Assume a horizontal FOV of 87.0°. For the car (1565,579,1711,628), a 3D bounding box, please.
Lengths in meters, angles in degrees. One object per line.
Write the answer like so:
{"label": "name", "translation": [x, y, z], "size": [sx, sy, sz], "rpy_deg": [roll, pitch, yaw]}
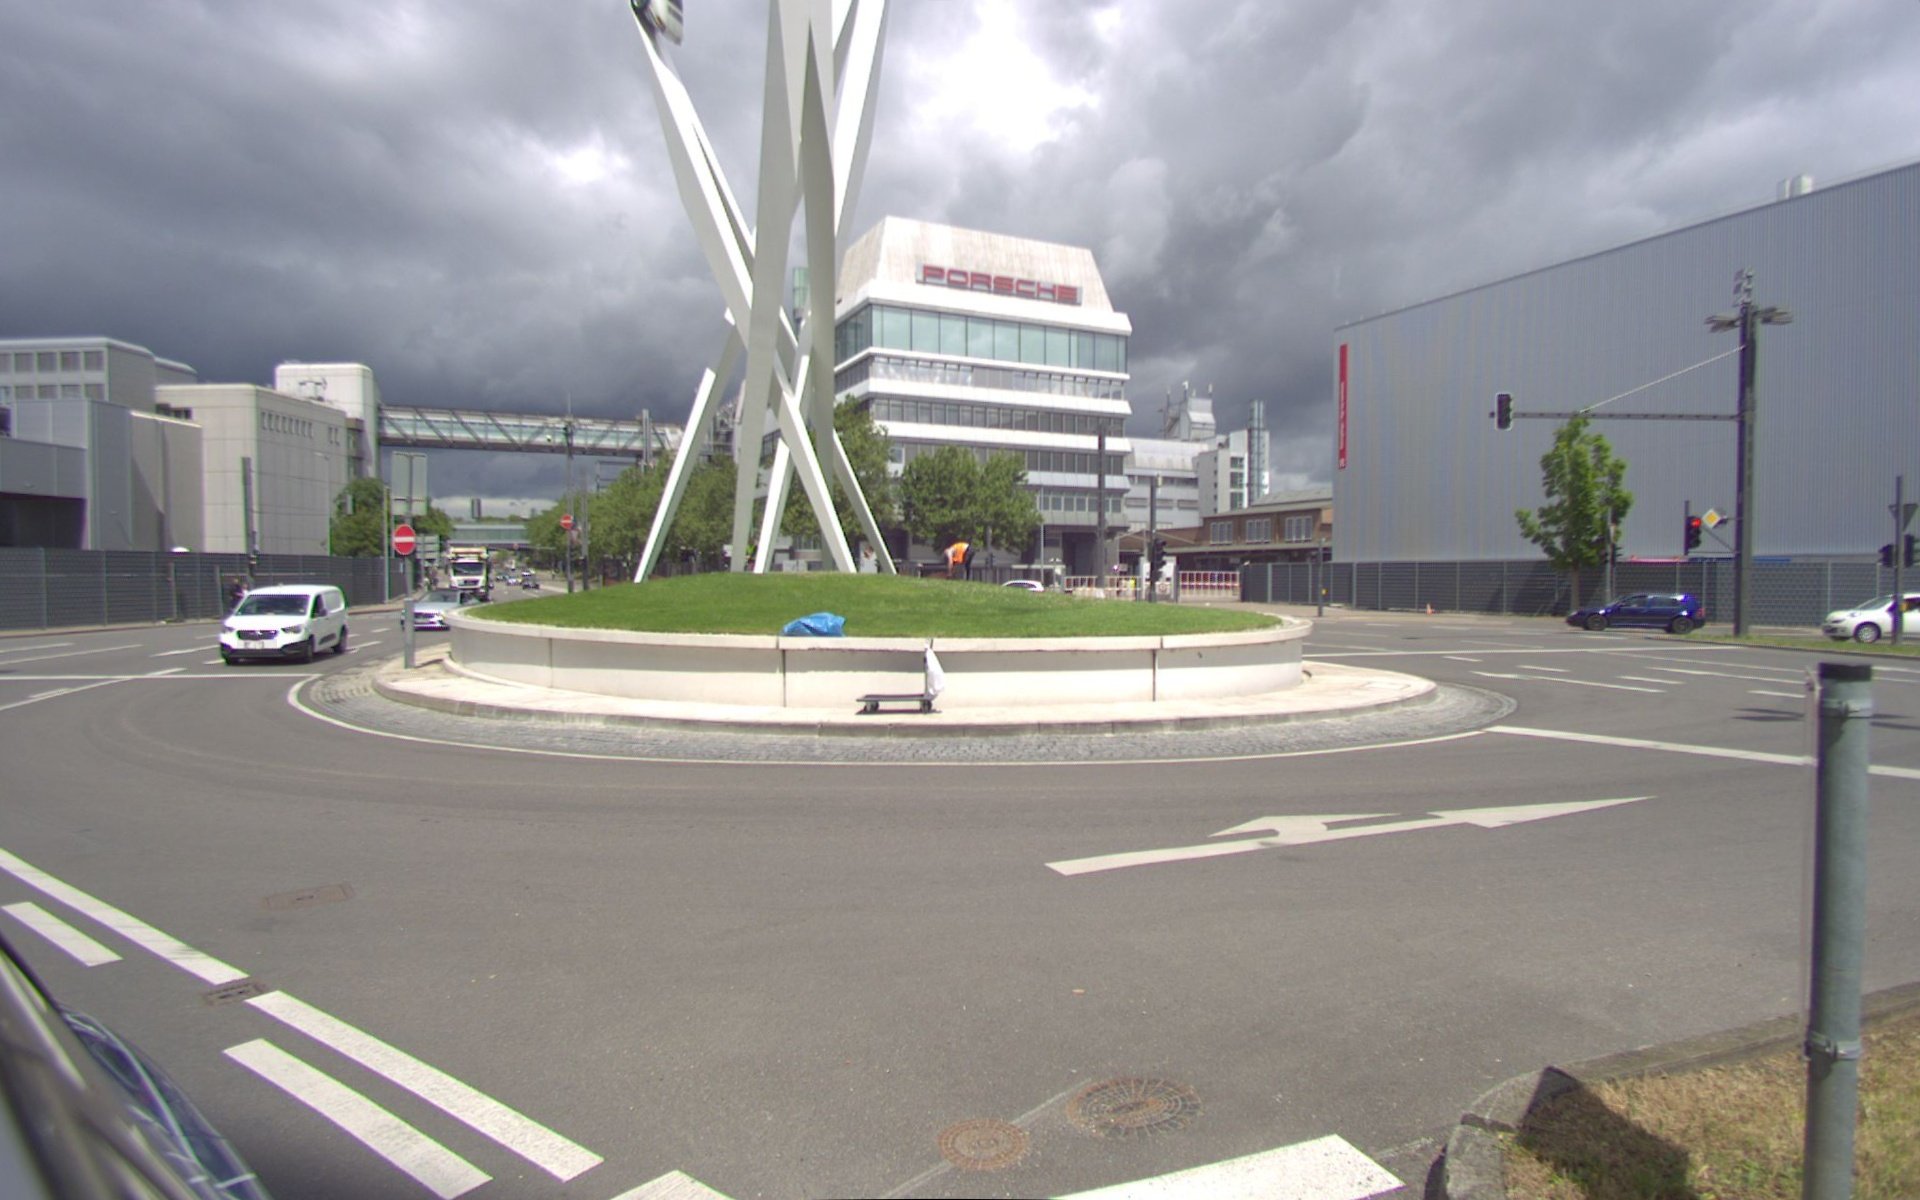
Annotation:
{"label": "car", "translation": [23.663, 0.108, 35.493], "size": [3.932, 1.568, 1.790], "rpy_deg": [0, 3, 23]}

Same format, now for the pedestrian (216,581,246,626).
{"label": "pedestrian", "translation": [-31.221, 0.124, 43.350], "size": [0.658, 1.880, 0.787], "rpy_deg": [0, 3, 26]}

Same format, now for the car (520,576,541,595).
{"label": "car", "translation": [-47.495, -1.628, 111.876], "size": [1.841, 1.970, 4.728], "rpy_deg": [-3, 4, -25]}

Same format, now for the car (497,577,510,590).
{"label": "car", "translation": [-75.343, -2.802, 167.074], "size": [1.841, 1.970, 4.728], "rpy_deg": [-3, 4, -25]}

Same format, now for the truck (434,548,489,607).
{"label": "truck", "translation": [-36.085, -1.596, 73.040], "size": [2.669, 3.914, 10.774], "rpy_deg": [0, 1, -31]}

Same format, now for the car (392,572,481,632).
{"label": "car", "translation": [-19.604, 0.003, 38.134], "size": [1.842, 1.970, 4.725], "rpy_deg": [-2, 3, -14]}

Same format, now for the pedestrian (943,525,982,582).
{"label": "pedestrian", "translation": [0.066, -1.228, 26.906], "size": [0.843, 1.417, 0.966], "rpy_deg": [5, 2, -4]}

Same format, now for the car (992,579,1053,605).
{"label": "car", "translation": [3.908, -0.513, 62.742], "size": [3.572, 1.492, 1.806], "rpy_deg": [-1, 3, 12]}

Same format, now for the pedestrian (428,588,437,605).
{"label": "pedestrian", "translation": [-56.503, -0.411, 108.423], "size": [0.783, 1.733, 0.734], "rpy_deg": [-3, 3, -30]}

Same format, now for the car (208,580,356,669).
{"label": "car", "translation": [-17.052, 0.568, 25.717], "size": [1.795, 2.029, 4.404], "rpy_deg": [-1, 0, -15]}

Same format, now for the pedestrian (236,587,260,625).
{"label": "pedestrian", "translation": [-30.938, 0.251, 44.002], "size": [0.463, 1.627, 0.657], "rpy_deg": [0, 3, 26]}

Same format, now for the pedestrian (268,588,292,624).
{"label": "pedestrian", "translation": [-31.458, 0.279, 46.842], "size": [0.650, 1.620, 0.825], "rpy_deg": [-2, 3, -15]}

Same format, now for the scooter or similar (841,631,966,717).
{"label": "scooter or similar", "translation": [-0.603, 0.800, 11.177], "size": [1.246, 0.854, 0.907], "rpy_deg": [-1, 1, 6]}

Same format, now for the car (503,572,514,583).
{"label": "car", "translation": [-91.539, -4.564, 205.181], "size": [1.841, 1.970, 4.728], "rpy_deg": [-3, 4, -25]}

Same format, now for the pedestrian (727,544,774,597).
{"label": "pedestrian", "translation": [-7.393, -1.018, 35.700], "size": [1.266, 1.830, 0.988], "rpy_deg": [1, 1, -42]}

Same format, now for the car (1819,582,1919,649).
{"label": "car", "translation": [27.839, 0.431, 29.526], "size": [3.745, 1.810, 1.901], "rpy_deg": [0, 3, 19]}

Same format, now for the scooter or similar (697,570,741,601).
{"label": "scooter or similar", "translation": [-8.287, -0.518, 34.871], "size": [0.550, 1.033, 1.384], "rpy_deg": [2, 3, 45]}
